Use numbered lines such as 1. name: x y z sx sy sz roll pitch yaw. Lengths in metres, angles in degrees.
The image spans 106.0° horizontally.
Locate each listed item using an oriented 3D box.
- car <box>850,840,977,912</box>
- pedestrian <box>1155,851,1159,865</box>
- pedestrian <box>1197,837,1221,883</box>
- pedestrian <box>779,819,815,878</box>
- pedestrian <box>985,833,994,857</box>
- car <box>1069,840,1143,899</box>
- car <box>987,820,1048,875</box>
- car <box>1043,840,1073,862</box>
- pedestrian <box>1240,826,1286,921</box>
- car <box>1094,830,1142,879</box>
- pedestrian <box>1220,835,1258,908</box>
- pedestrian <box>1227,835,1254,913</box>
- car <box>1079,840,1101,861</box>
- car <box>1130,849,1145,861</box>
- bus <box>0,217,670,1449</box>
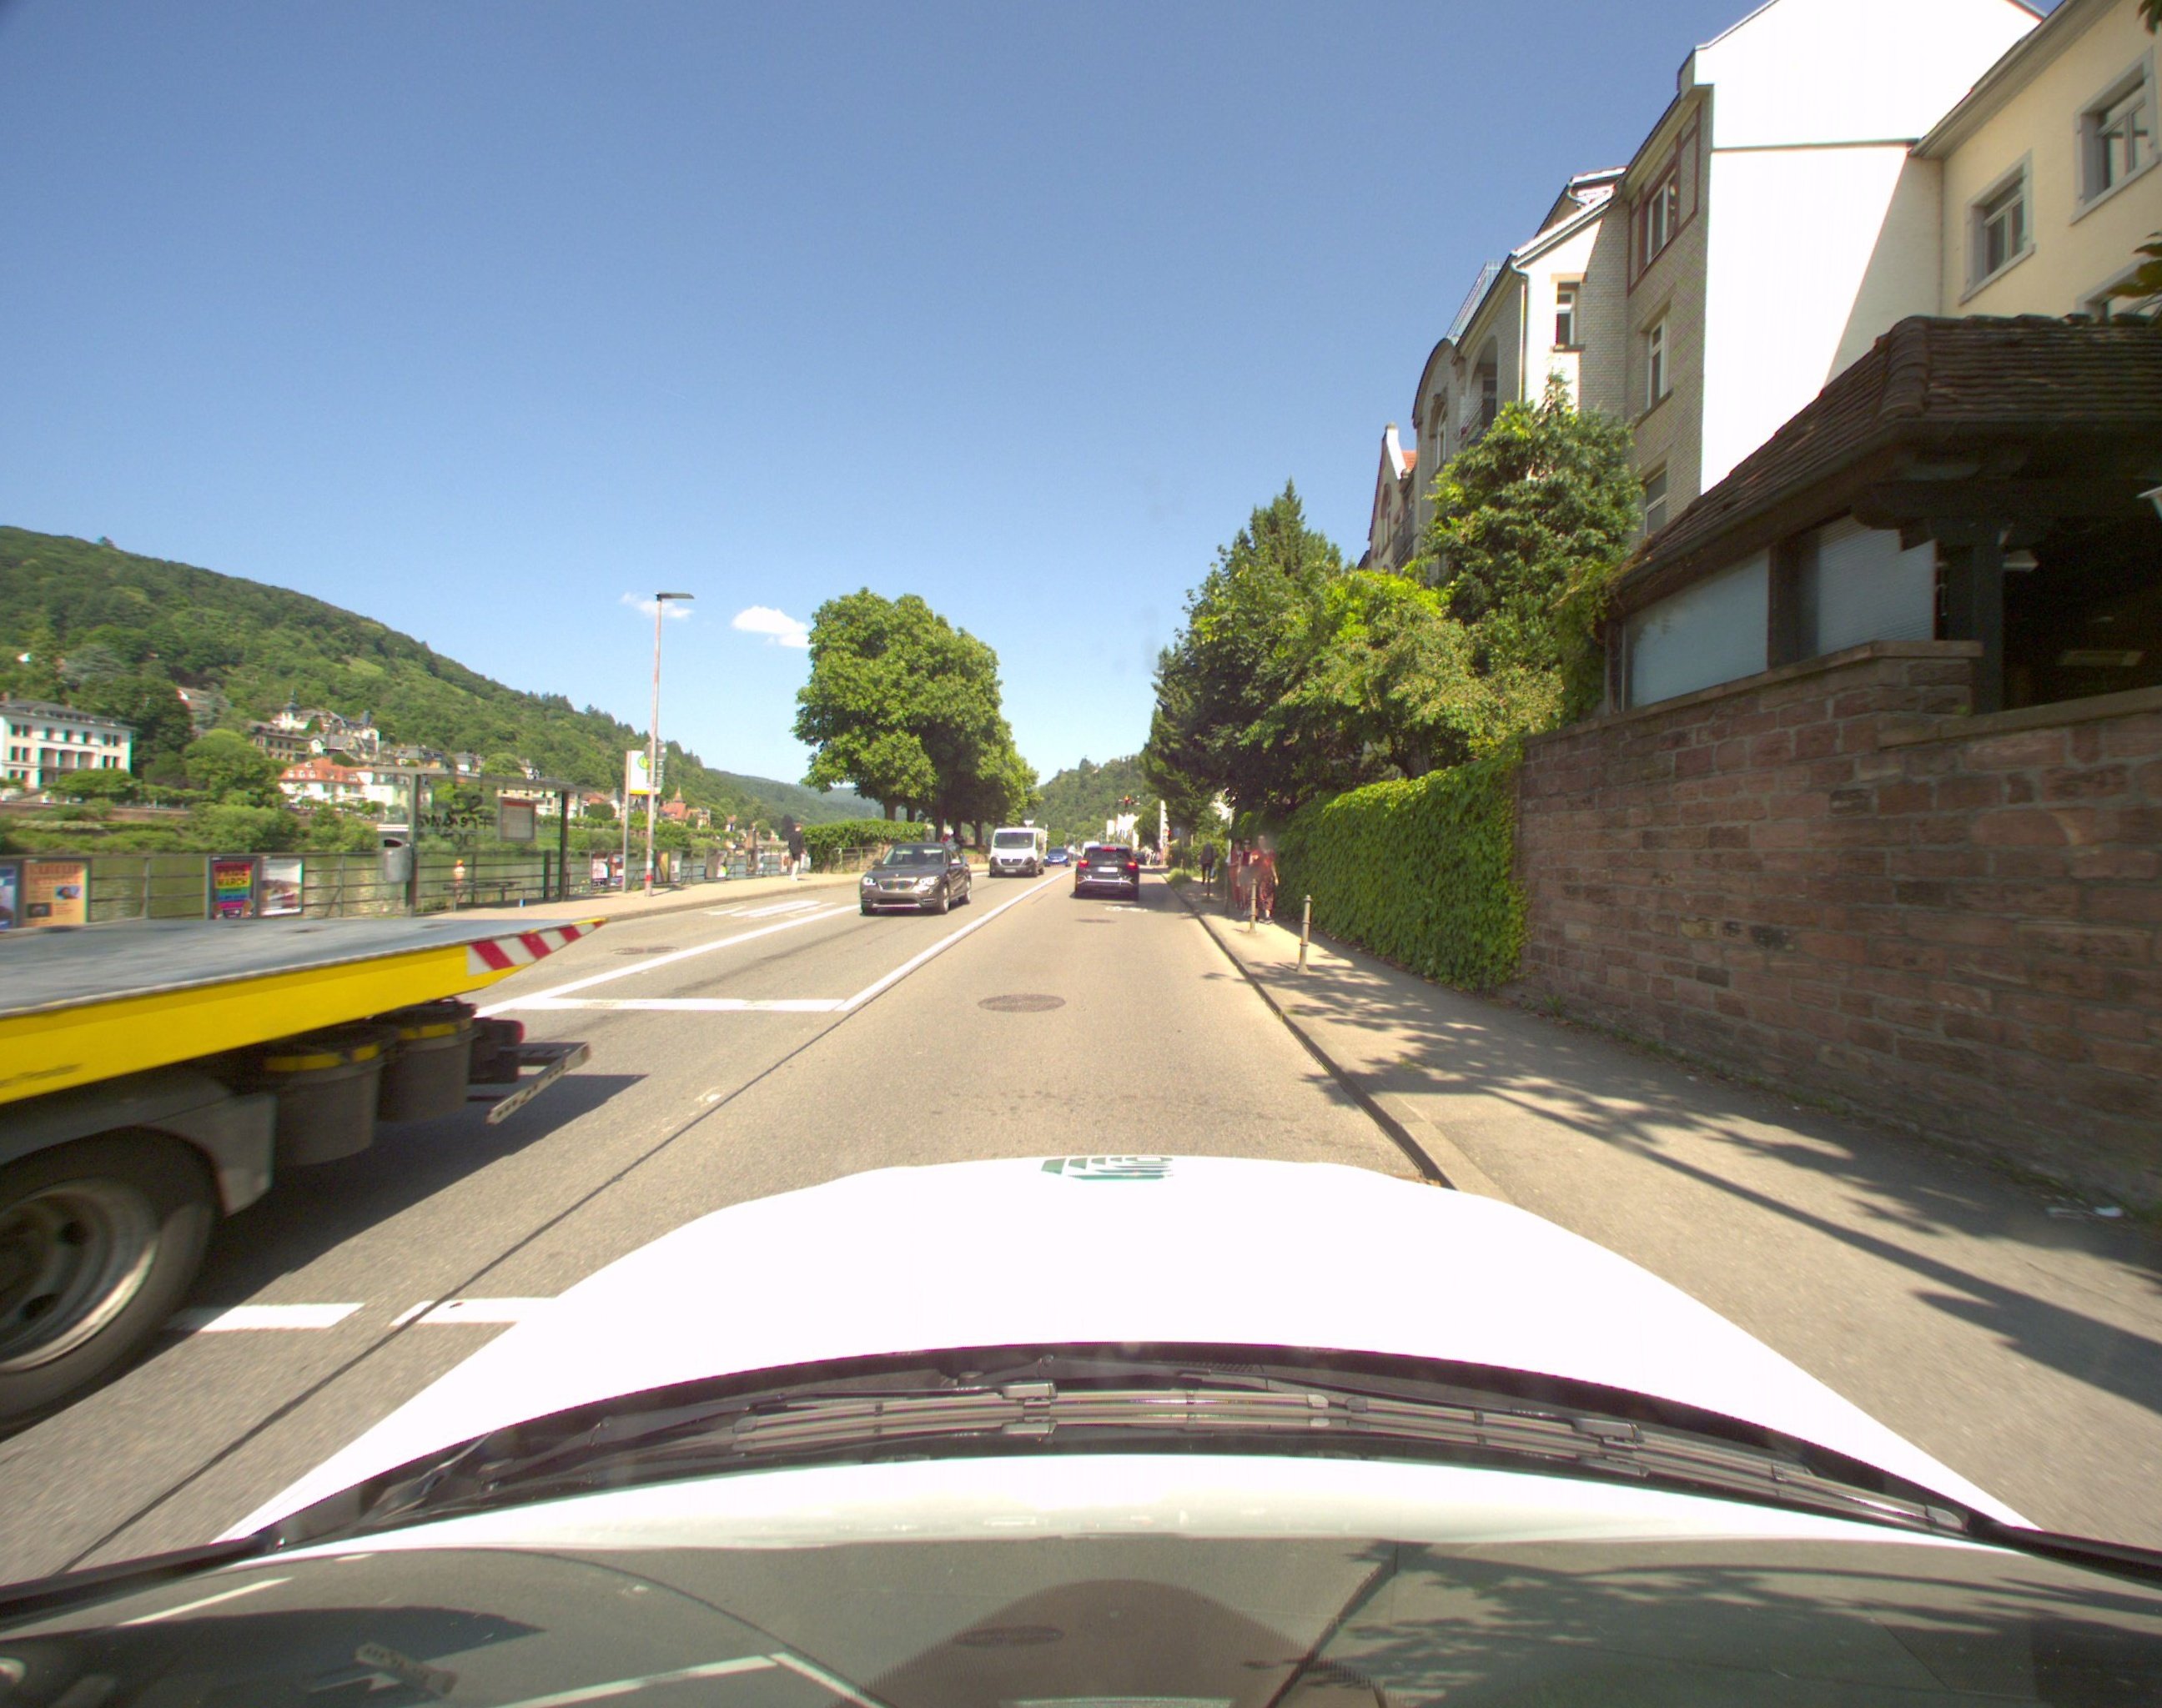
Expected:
1. car: -3.607 0.406 18.338 1.808 1.398 4.349 0 1 2
2. pedestrian: 8.705 0.428 93.060 0.487 1.559 0.462 0 -1 3
3. pedestrian: 4.757 0.224 30.304 0.725 1.650 0.882 -2 0 3
4. pedestrian: -9.430 -0.172 27.076 0.750 1.918 1.010 0 -1 3
5. pedestrian: -8.035 -0.785 71.786 0.637 2.014 0.731 0 -1 3
6. car: 0.815 0.407 23.738 1.848 1.524 4.006 2 0 5
7. car: -2.776 -0.342 36.959 2.088 2.302 5.872 0 1 2
8. car: -1.667 -0.209 59.483 1.891 1.489 3.798 0 -1 3
9. pedestrian: 3.448 0.354 15.469 0.678 1.742 0.914 1 1 2
10. car: 1.638 -0.025 35.789 1.985 2.013 4.003 0 2 2
11. pedestrian: 3.622 0.383 18.744 0.732 1.634 0.921 0 1 2
12. pedestrian: 3.341 0.402 17.099 0.454 1.606 0.580 0 0 2
13. car: 1.152 -0.418 100.725 2.484 2.466 5.624 0 -1 3
14. car: 7.401 0.130 106.837 1.985 1.453 4.011 0 -1 3
15. bus: -3.866 -0.032 0.671 2.587 2.896 8.450 0 1 1
